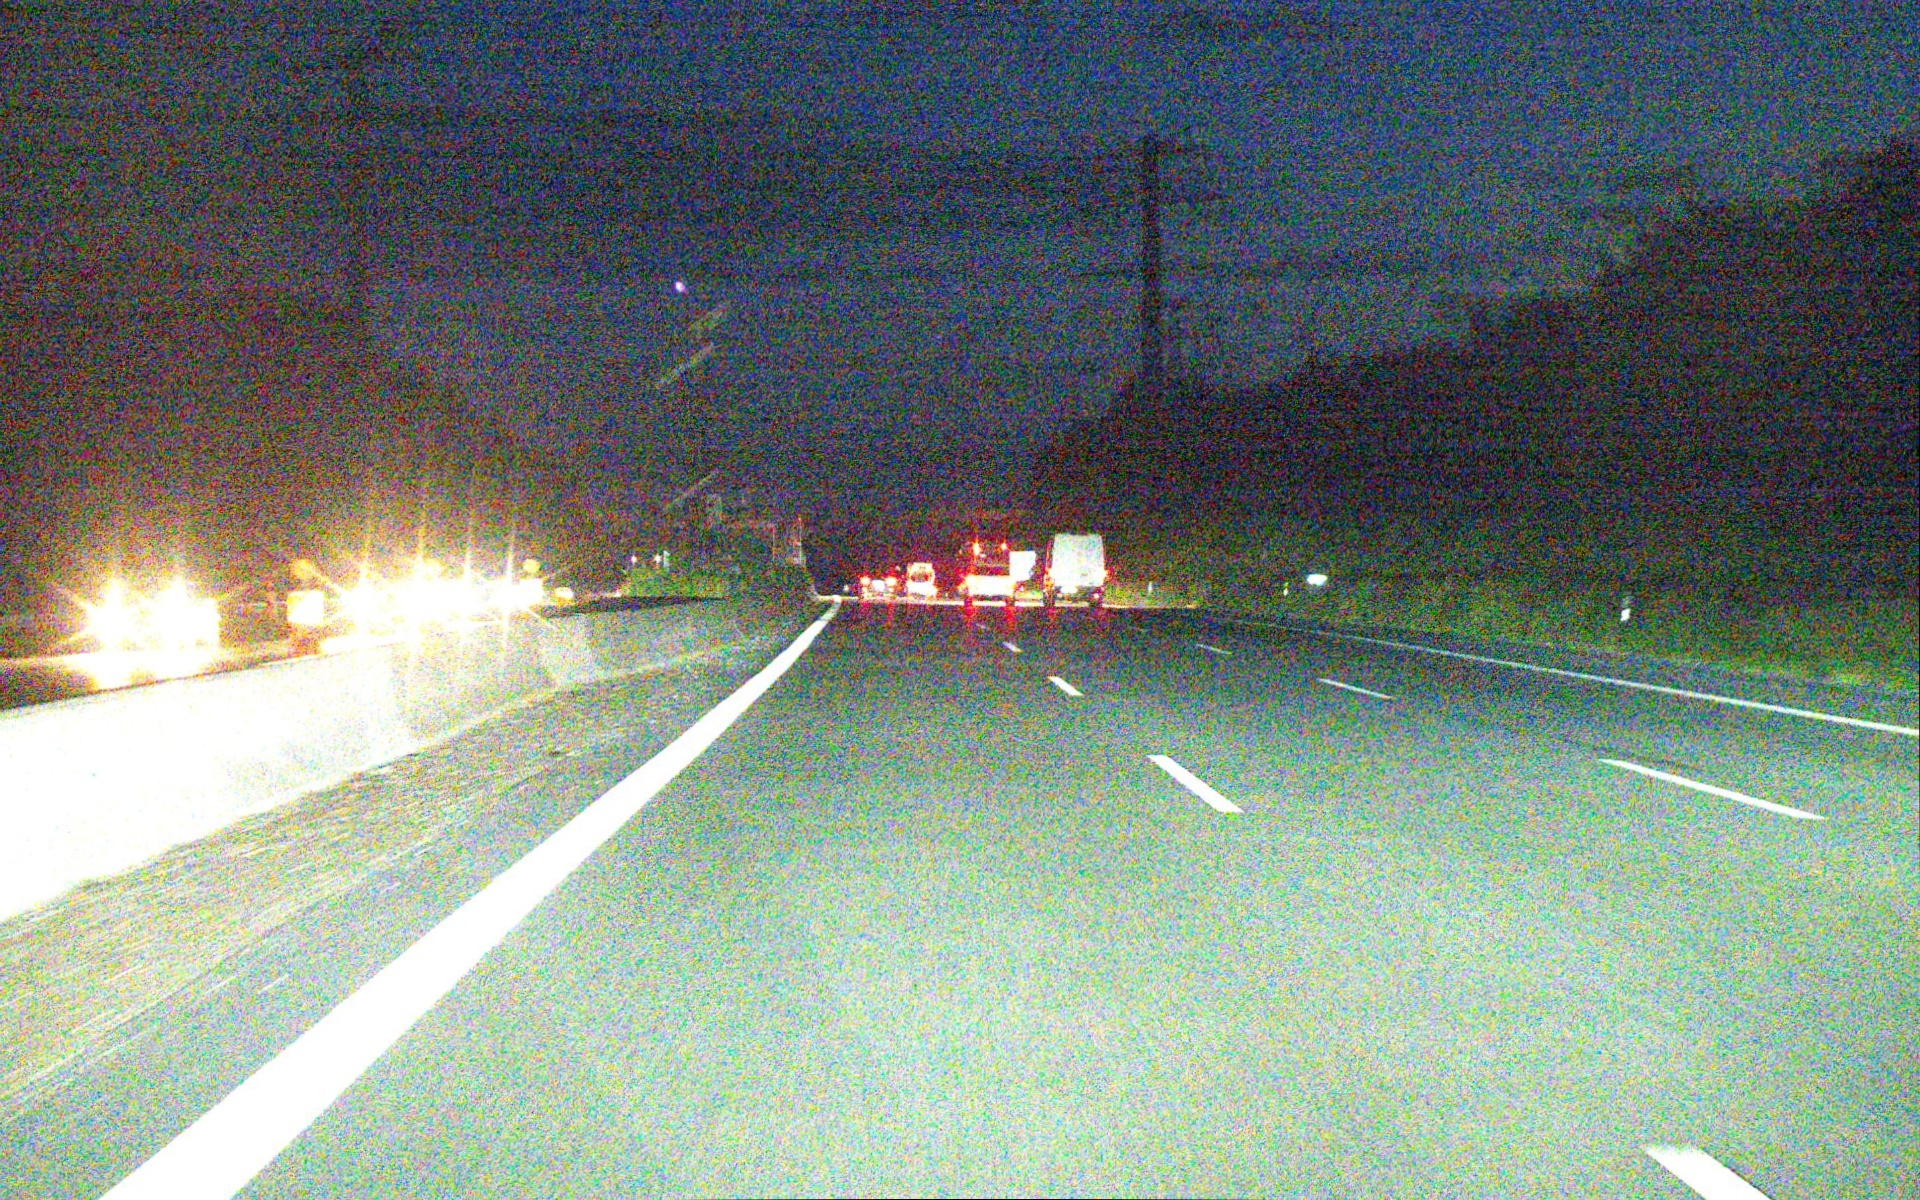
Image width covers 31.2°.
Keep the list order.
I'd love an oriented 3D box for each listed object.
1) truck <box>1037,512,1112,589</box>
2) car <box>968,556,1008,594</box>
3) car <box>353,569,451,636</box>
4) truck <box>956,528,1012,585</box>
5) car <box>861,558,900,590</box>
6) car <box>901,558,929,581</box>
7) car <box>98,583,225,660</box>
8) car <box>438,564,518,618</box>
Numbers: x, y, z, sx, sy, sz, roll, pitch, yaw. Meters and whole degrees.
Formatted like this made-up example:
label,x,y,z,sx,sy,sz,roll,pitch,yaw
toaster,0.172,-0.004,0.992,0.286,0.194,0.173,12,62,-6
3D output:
label,x,y,z,sx,sy,sz,roll,pitch,yaw
truck,4.209,-1.882,127.929,2.076,2.681,7.309,1,2,-3
car,1.037,-0.942,129.345,1.346,1.382,3.502,1,1,-1
car,-13.414,0.037,82.885,1.750,1.473,4.583,-2,1,-2
truck,1.458,-2.702,211.668,3.044,3.313,10.142,1,1,-2
car,-3.840,-1.260,166.382,1.821,1.461,4.248,1,1,-1
car,-3.015,-2.035,231.164,1.821,1.461,4.248,1,1,-1
car,-16.878,0.422,72.828,1.750,1.473,4.583,-2,1,-2
car,-14.257,-0.281,101.861,1.750,1.473,4.583,-2,1,-1
